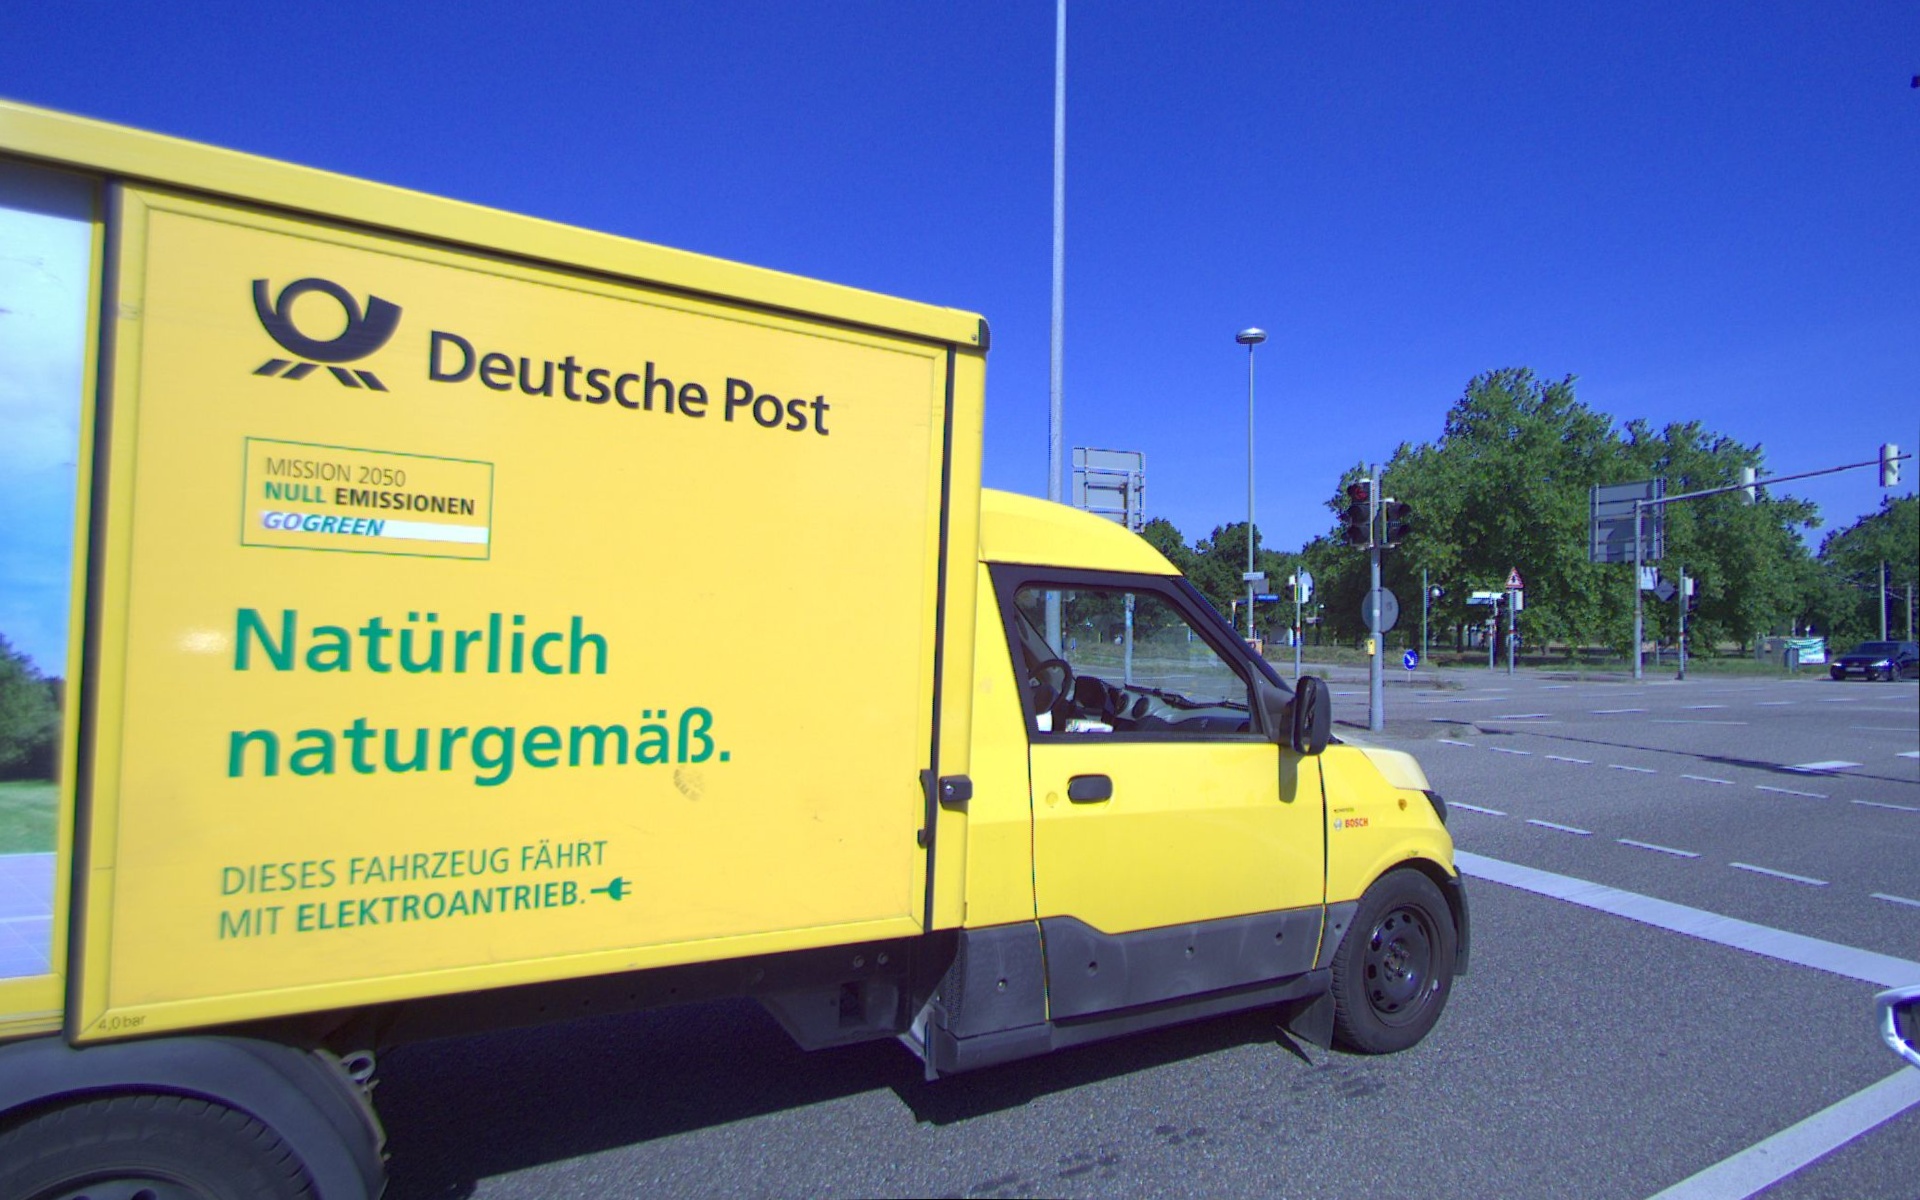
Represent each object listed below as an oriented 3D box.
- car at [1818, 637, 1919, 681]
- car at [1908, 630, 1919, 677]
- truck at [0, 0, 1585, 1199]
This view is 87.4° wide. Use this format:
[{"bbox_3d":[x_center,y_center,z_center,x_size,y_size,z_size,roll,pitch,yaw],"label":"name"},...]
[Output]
[{"bbox_3d":[33.320,2.121,36.407,4.173,1.476,1.879,1,-2,-26],"label":"car"},{"bbox_3d":[38.739,2.068,39.069,4.182,1.793,1.695,2,-3,-32],"label":"car"},{"bbox_3d":[-0.871,0.242,3.068,5.844,2.490,2.103,2,0,-29],"label":"truck"}]
